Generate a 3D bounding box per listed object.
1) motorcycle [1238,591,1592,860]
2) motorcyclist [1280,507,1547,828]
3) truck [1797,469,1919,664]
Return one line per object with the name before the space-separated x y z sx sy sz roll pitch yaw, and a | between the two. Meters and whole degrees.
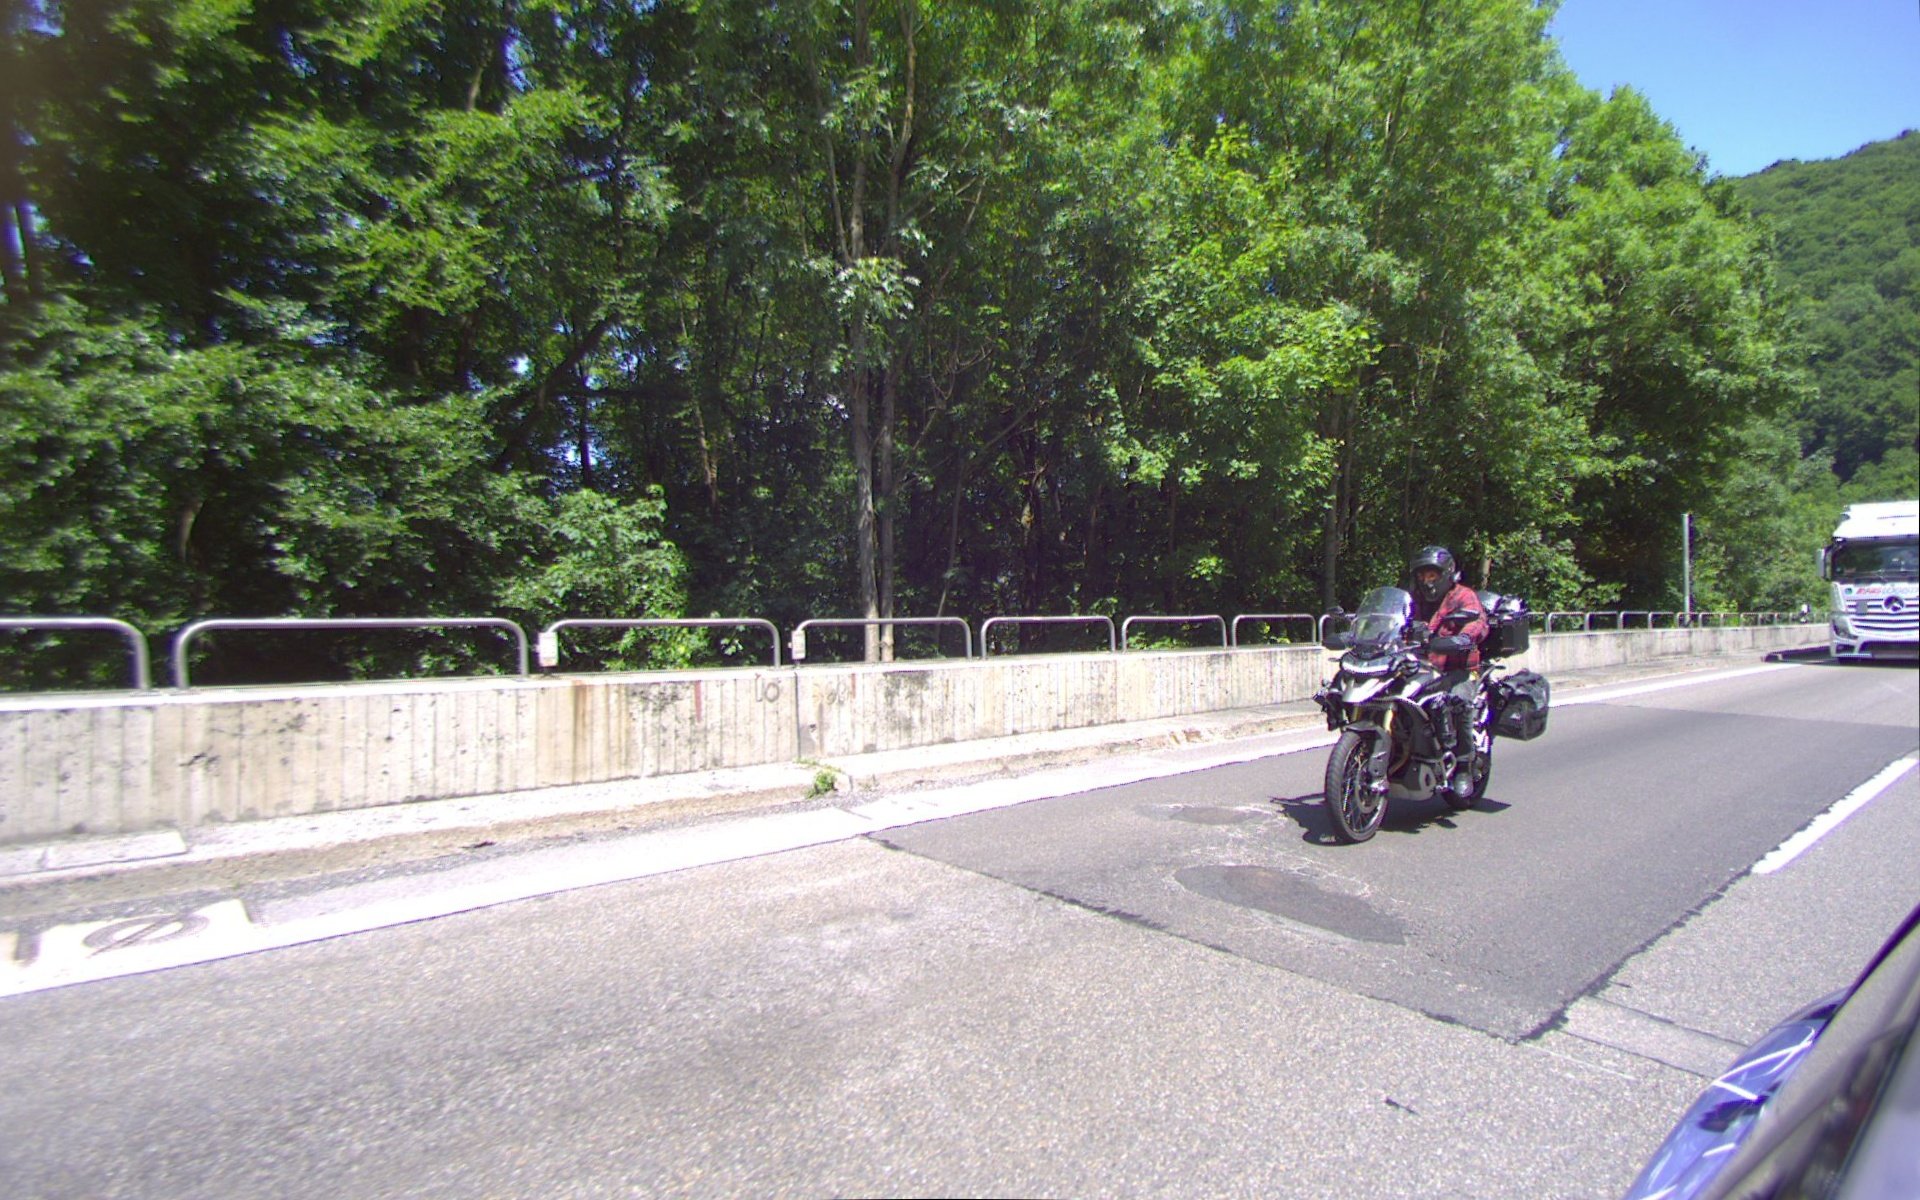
motorcycle | 3.053 0.673 6.633 2.631 1.437 0.975 0 1 -37
motorcyclist | 2.937 0.373 6.560 1.313 1.823 1.063 0 1 -37
truck | 26.571 -0.796 27.574 16.413 4.185 2.966 -1 0 -40
